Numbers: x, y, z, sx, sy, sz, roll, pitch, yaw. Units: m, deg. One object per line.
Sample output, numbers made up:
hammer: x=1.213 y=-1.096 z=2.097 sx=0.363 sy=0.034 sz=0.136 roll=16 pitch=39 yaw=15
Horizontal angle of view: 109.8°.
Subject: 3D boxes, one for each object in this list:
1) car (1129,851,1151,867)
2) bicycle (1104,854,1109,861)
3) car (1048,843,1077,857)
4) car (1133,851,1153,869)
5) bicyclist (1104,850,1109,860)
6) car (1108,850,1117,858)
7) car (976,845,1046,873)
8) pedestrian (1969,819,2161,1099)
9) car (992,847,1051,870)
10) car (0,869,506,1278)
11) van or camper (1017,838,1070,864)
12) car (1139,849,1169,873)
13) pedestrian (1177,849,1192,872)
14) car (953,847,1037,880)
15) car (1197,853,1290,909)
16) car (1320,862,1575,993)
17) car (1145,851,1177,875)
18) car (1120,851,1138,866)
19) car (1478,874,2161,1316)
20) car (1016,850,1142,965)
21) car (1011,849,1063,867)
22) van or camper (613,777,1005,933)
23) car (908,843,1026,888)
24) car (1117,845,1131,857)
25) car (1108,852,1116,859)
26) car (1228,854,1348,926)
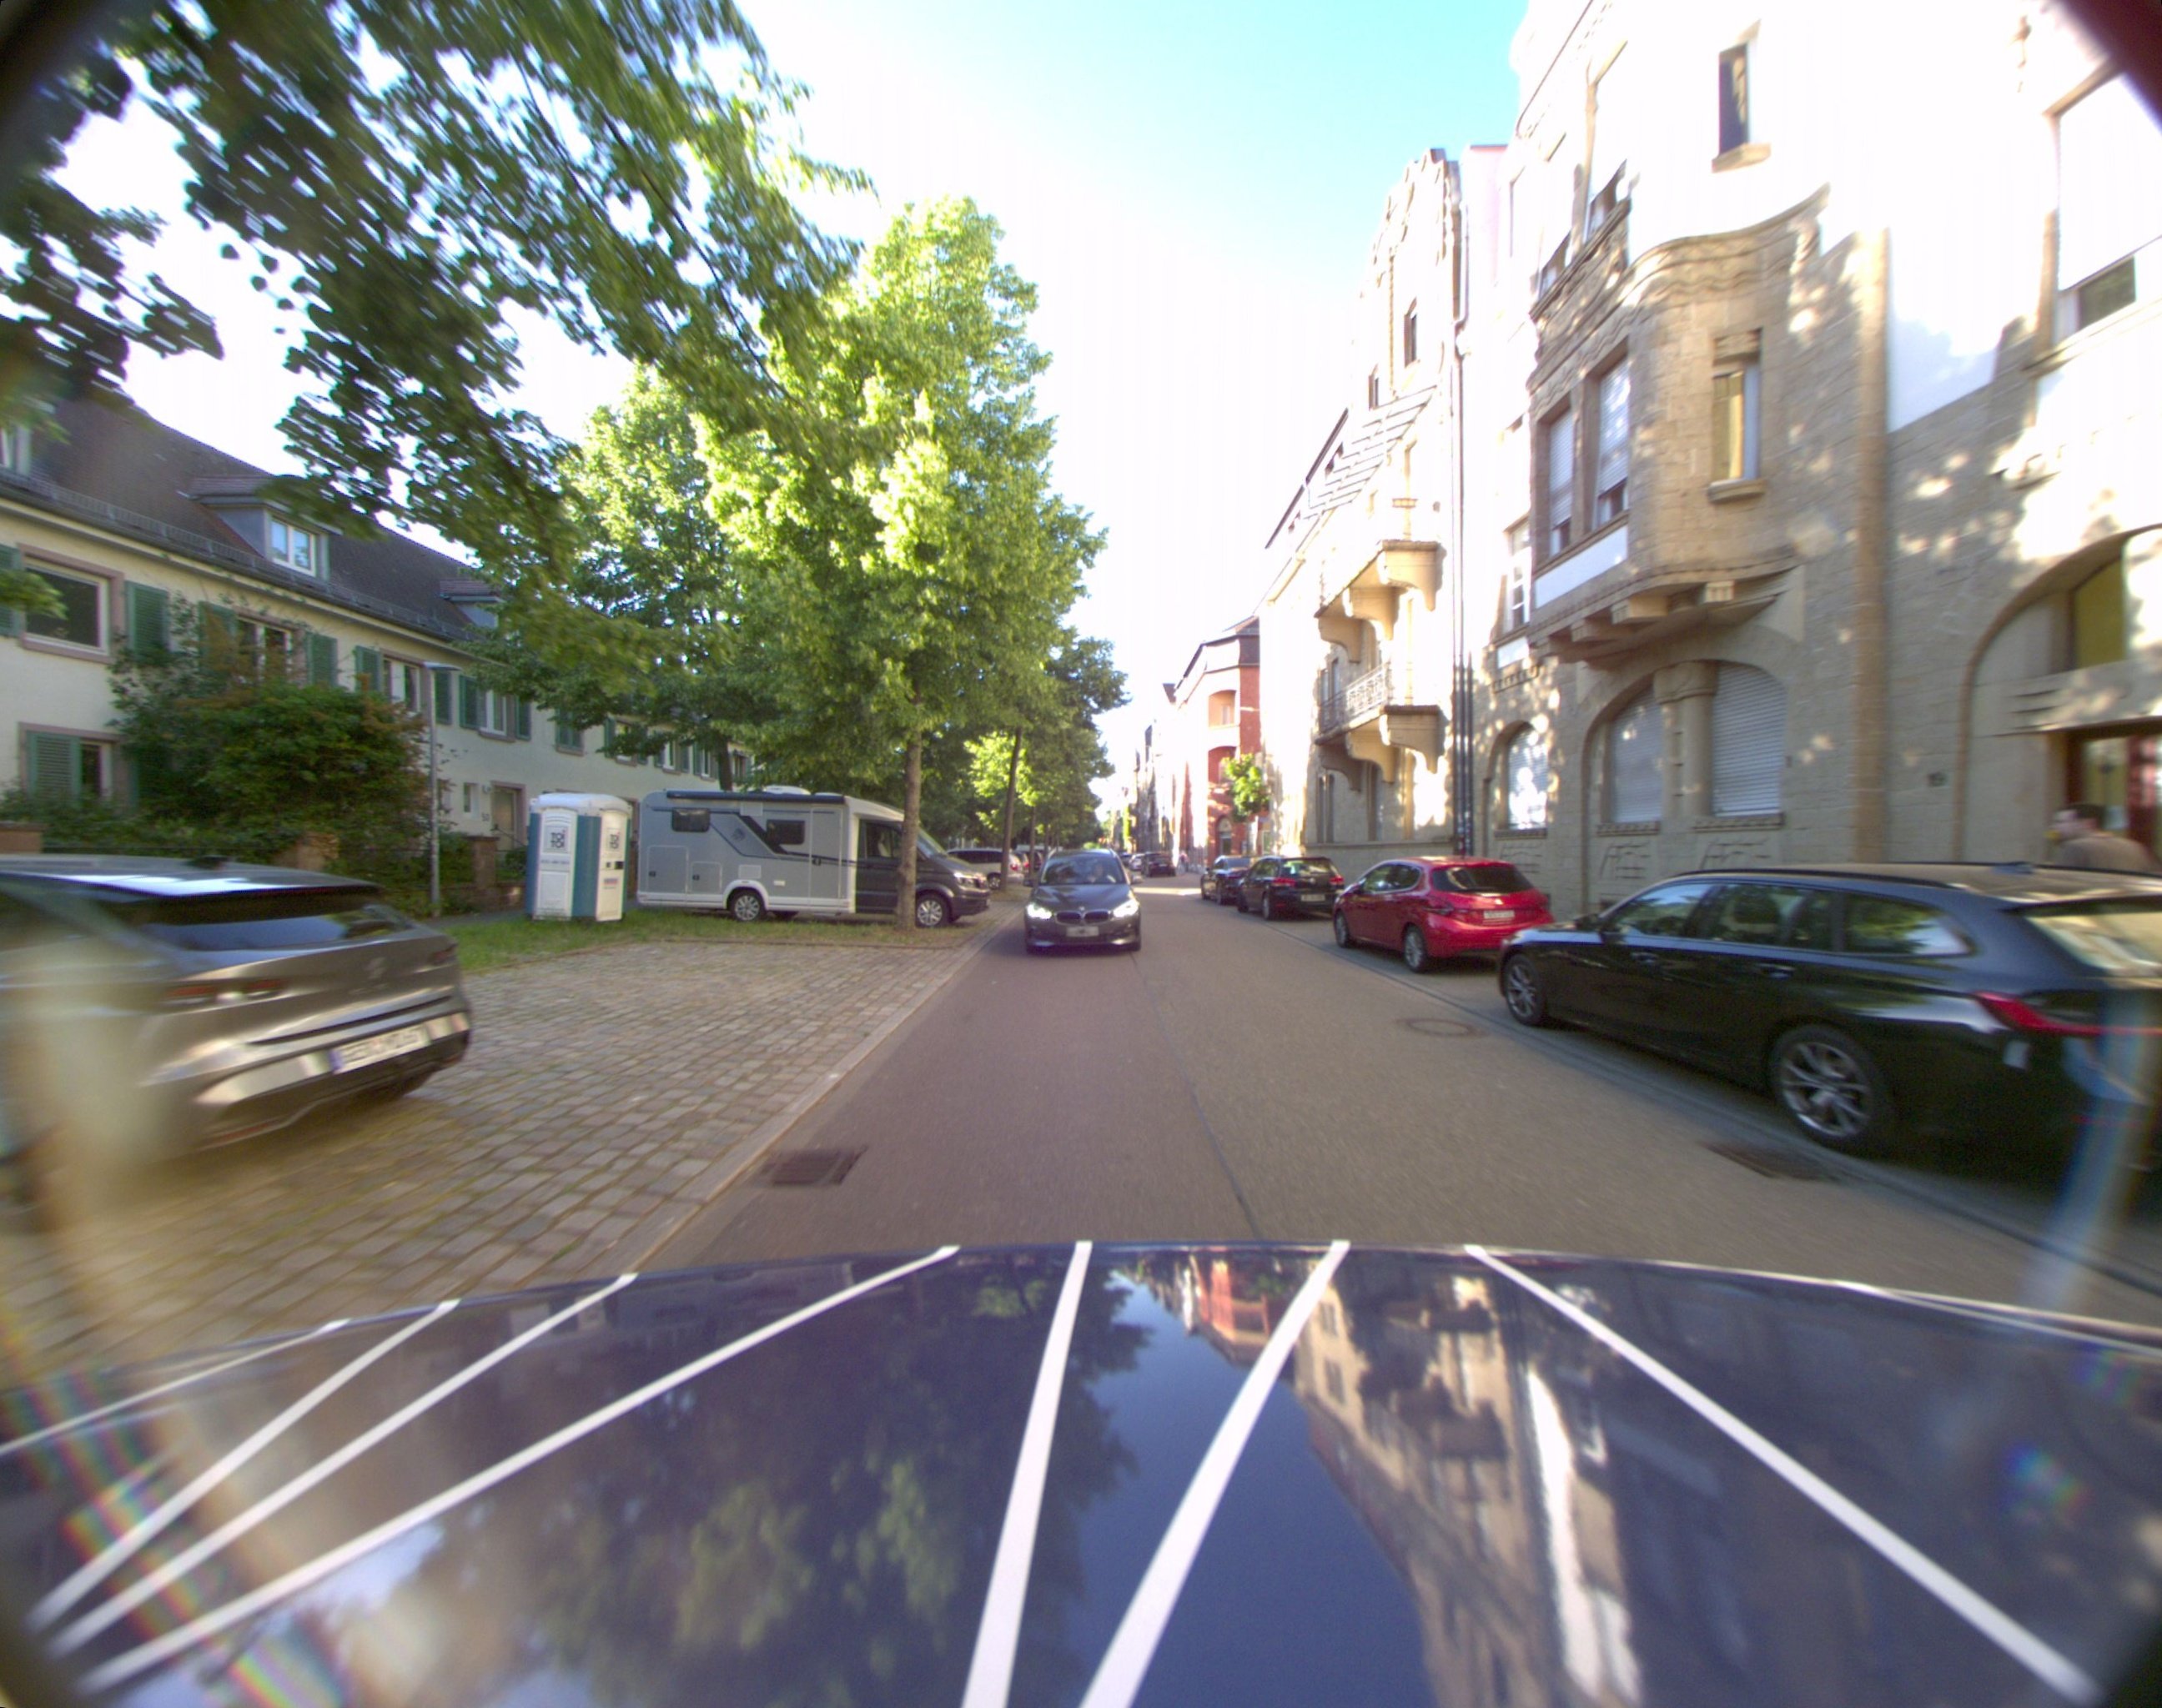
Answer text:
car: x=5.436 y=0.428 z=70.529 sx=1.681 sy=1.434 sz=4.111 roll=-2 pitch=0 yaw=-1
bicycle: x=3.743 y=0.510 z=111.242 sx=0.759 sy=1.101 sz=1.907 roll=1 pitch=1 yaw=0
car: x=-3.594 y=-0.844 z=146.695 sx=5.448 sy=2.646 sz=2.134 roll=1 pitch=0 yaw=1
car: x=5.352 y=0.492 z=65.668 sx=1.570 sy=1.462 sz=3.592 roll=-1 pitch=0 yaw=2
bicyclist: x=3.750 y=0.196 z=111.232 sx=0.761 sy=1.445 sz=0.948 roll=1 pitch=1 yaw=0
car: x=6.278 y=0.040 z=149.999 sx=1.686 sy=1.496 sz=3.629 roll=-4 pitch=-1 yaw=2
car: x=-4.897 y=0.322 z=53.269 sx=4.592 sy=1.667 sz=1.907 roll=3 pitch=1 yaw=2
pedestrian: x=6.850 y=0.646 z=5.086 sx=0.940 sy=1.732 sz=0.735 roll=-2 pitch=2 yaw=1
car: x=-4.720 y=0.343 z=60.529 sx=4.487 sy=1.624 sz=1.875 roll=3 pitch=1 yaw=-1
car: x=-5.383 y=0.824 z=3.529 sx=4.044 sy=1.445 sz=1.690 roll=0 pitch=1 yaw=-3
van or camper: x=-4.193 y=-0.340 z=85.826 sx=5.734 sy=2.502 sz=2.162 roll=3 pitch=1 yaw=0
car: x=5.399 y=0.486 z=56.551 sx=1.673 sy=1.671 sz=4.349 roll=-1 pitch=1 yaw=-1
pedestrian: x=7.064 y=0.437 z=51.801 sx=0.890 sy=1.568 sz=1.053 roll=-1 pitch=2 yaw=1
car: x=-4.809 y=0.521 z=42.777 sx=4.552 sy=1.624 sz=1.811 roll=3 pitch=1 yaw=-5
car: x=4.898 y=0.749 z=23.588 sx=1.816 sy=1.418 sz=4.897 roll=-3 pitch=1 yaw=0
car: x=4.874 y=0.868 z=10.756 sx=1.633 sy=1.445 sz=3.837 roll=-1 pitch=0 yaw=-2
car: x=5.245 y=0.533 z=50.227 sx=1.640 sy=1.402 sz=4.332 roll=-3 pitch=1 yaw=1
car: x=5.474 y=0.514 z=86.985 sx=1.881 sy=1.707 sz=4.339 roll=-1 pitch=0 yaw=0
car: x=4.628 y=0.926 z=4.995 sx=1.679 sy=1.422 sz=4.550 roll=-2 pitch=0 yaw=1
car: x=0.016 y=0.775 z=13.187 sx=1.753 sy=1.596 sz=4.550 roll=-2 pitch=0 yaw=1
car: x=-4.165 y=0.371 z=72.467 sx=4.850 sy=1.530 sz=1.894 roll=3 pitch=1 yaw=-1
van or camper: x=-5.399 y=0.004 z=15.843 sx=7.163 sy=2.632 sz=2.465 roll=3 pitch=1 yaw=2
car: x=-4.770 y=0.467 z=32.280 sx=4.630 sy=1.700 sz=1.833 roll=2 pitch=1 yaw=2
car: x=5.891 y=-0.432 z=104.696 sx=1.774 sy=1.658 sz=4.212 roll=-1 pitch=1 yaw=0
car: x=7.012 y=0.376 z=171.109 sx=1.710 sy=1.496 sz=3.629 roll=-4 pitch=-1 yaw=2
car: x=4.773 y=0.771 z=18.094 sx=1.700 sy=1.445 sz=4.026 roll=0 pitch=1 yaw=-1
